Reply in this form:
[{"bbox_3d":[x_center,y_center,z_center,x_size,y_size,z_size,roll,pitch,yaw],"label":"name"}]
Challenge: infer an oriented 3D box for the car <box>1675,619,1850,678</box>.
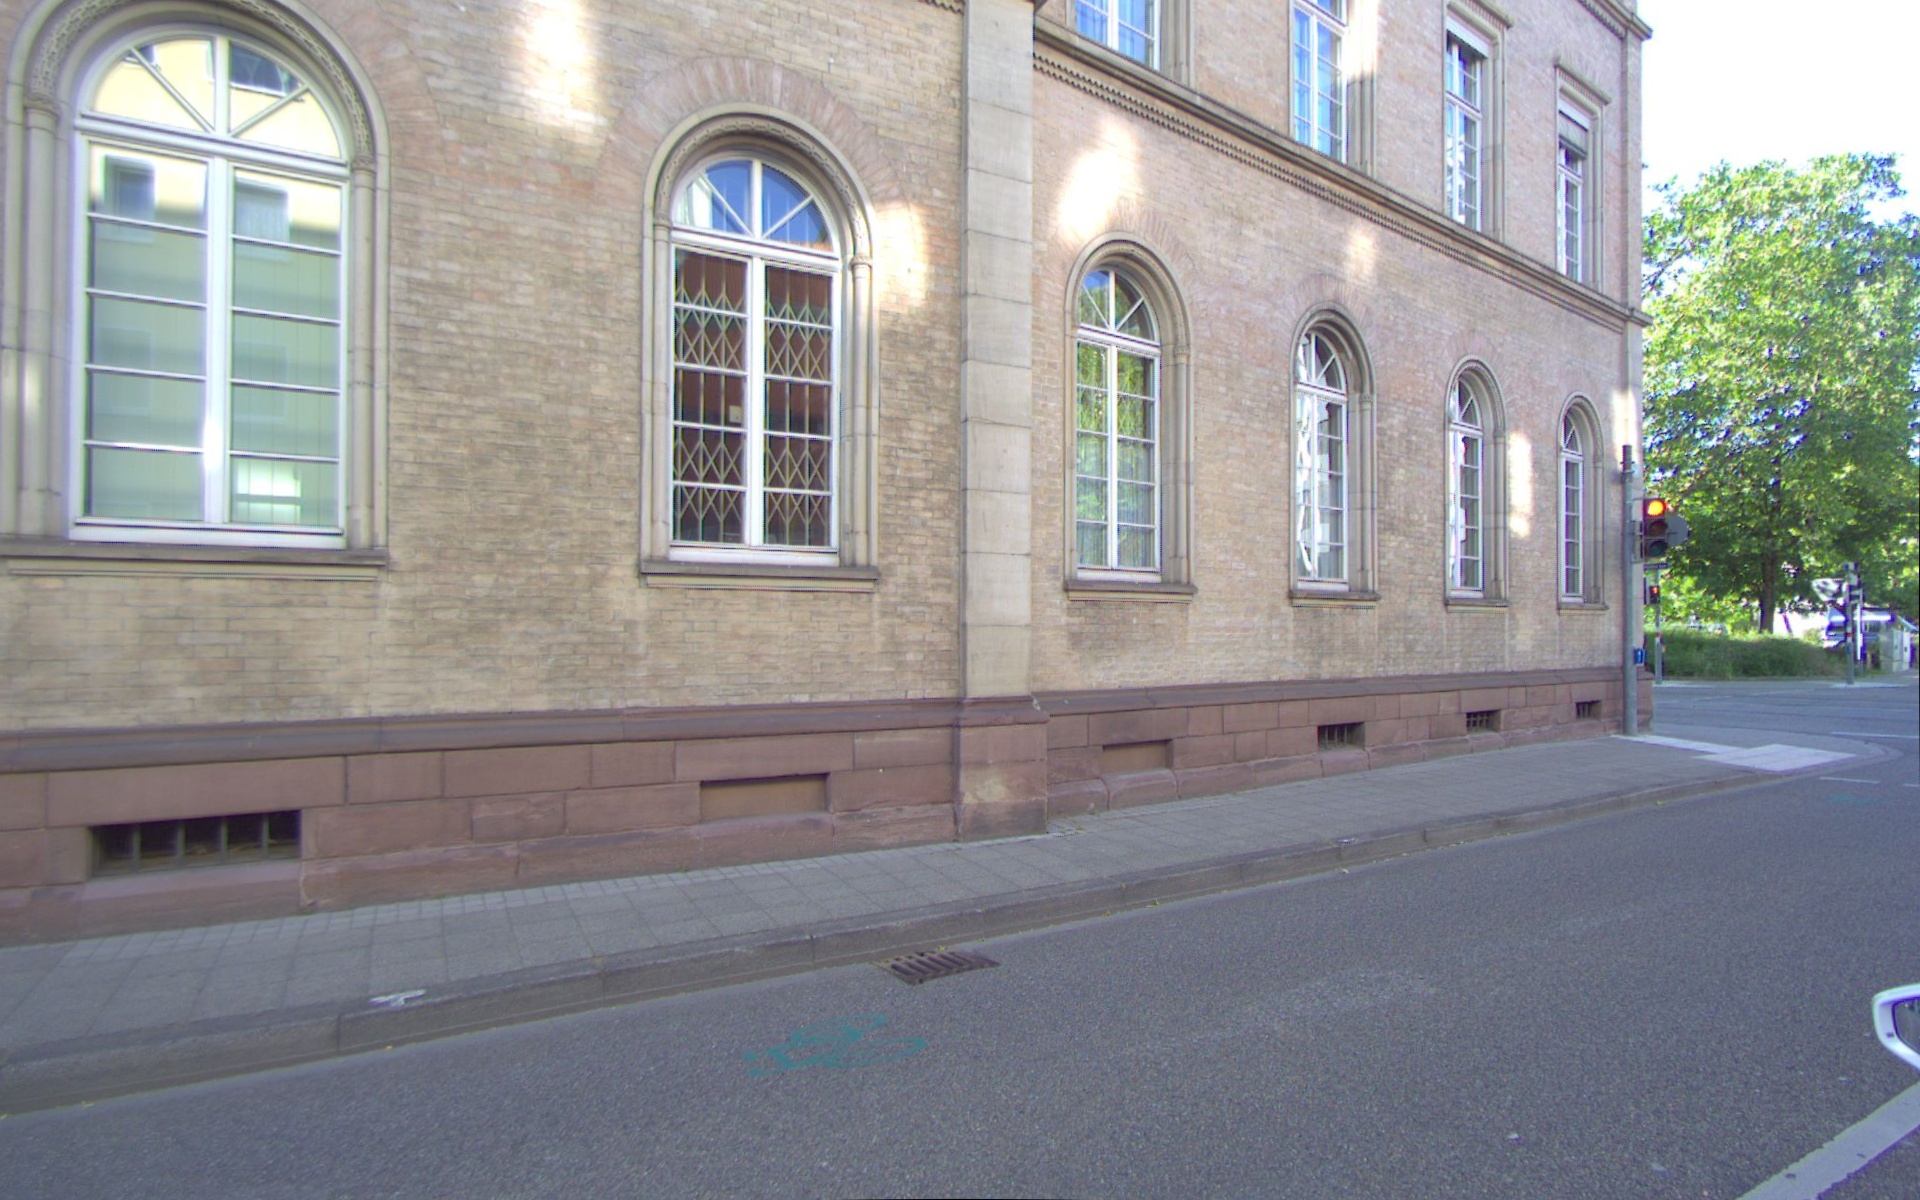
[{"bbox_3d":[26.352,1.548,33.111,1.888,1.801,4.193,1,-2,-37],"label":"car"}]
